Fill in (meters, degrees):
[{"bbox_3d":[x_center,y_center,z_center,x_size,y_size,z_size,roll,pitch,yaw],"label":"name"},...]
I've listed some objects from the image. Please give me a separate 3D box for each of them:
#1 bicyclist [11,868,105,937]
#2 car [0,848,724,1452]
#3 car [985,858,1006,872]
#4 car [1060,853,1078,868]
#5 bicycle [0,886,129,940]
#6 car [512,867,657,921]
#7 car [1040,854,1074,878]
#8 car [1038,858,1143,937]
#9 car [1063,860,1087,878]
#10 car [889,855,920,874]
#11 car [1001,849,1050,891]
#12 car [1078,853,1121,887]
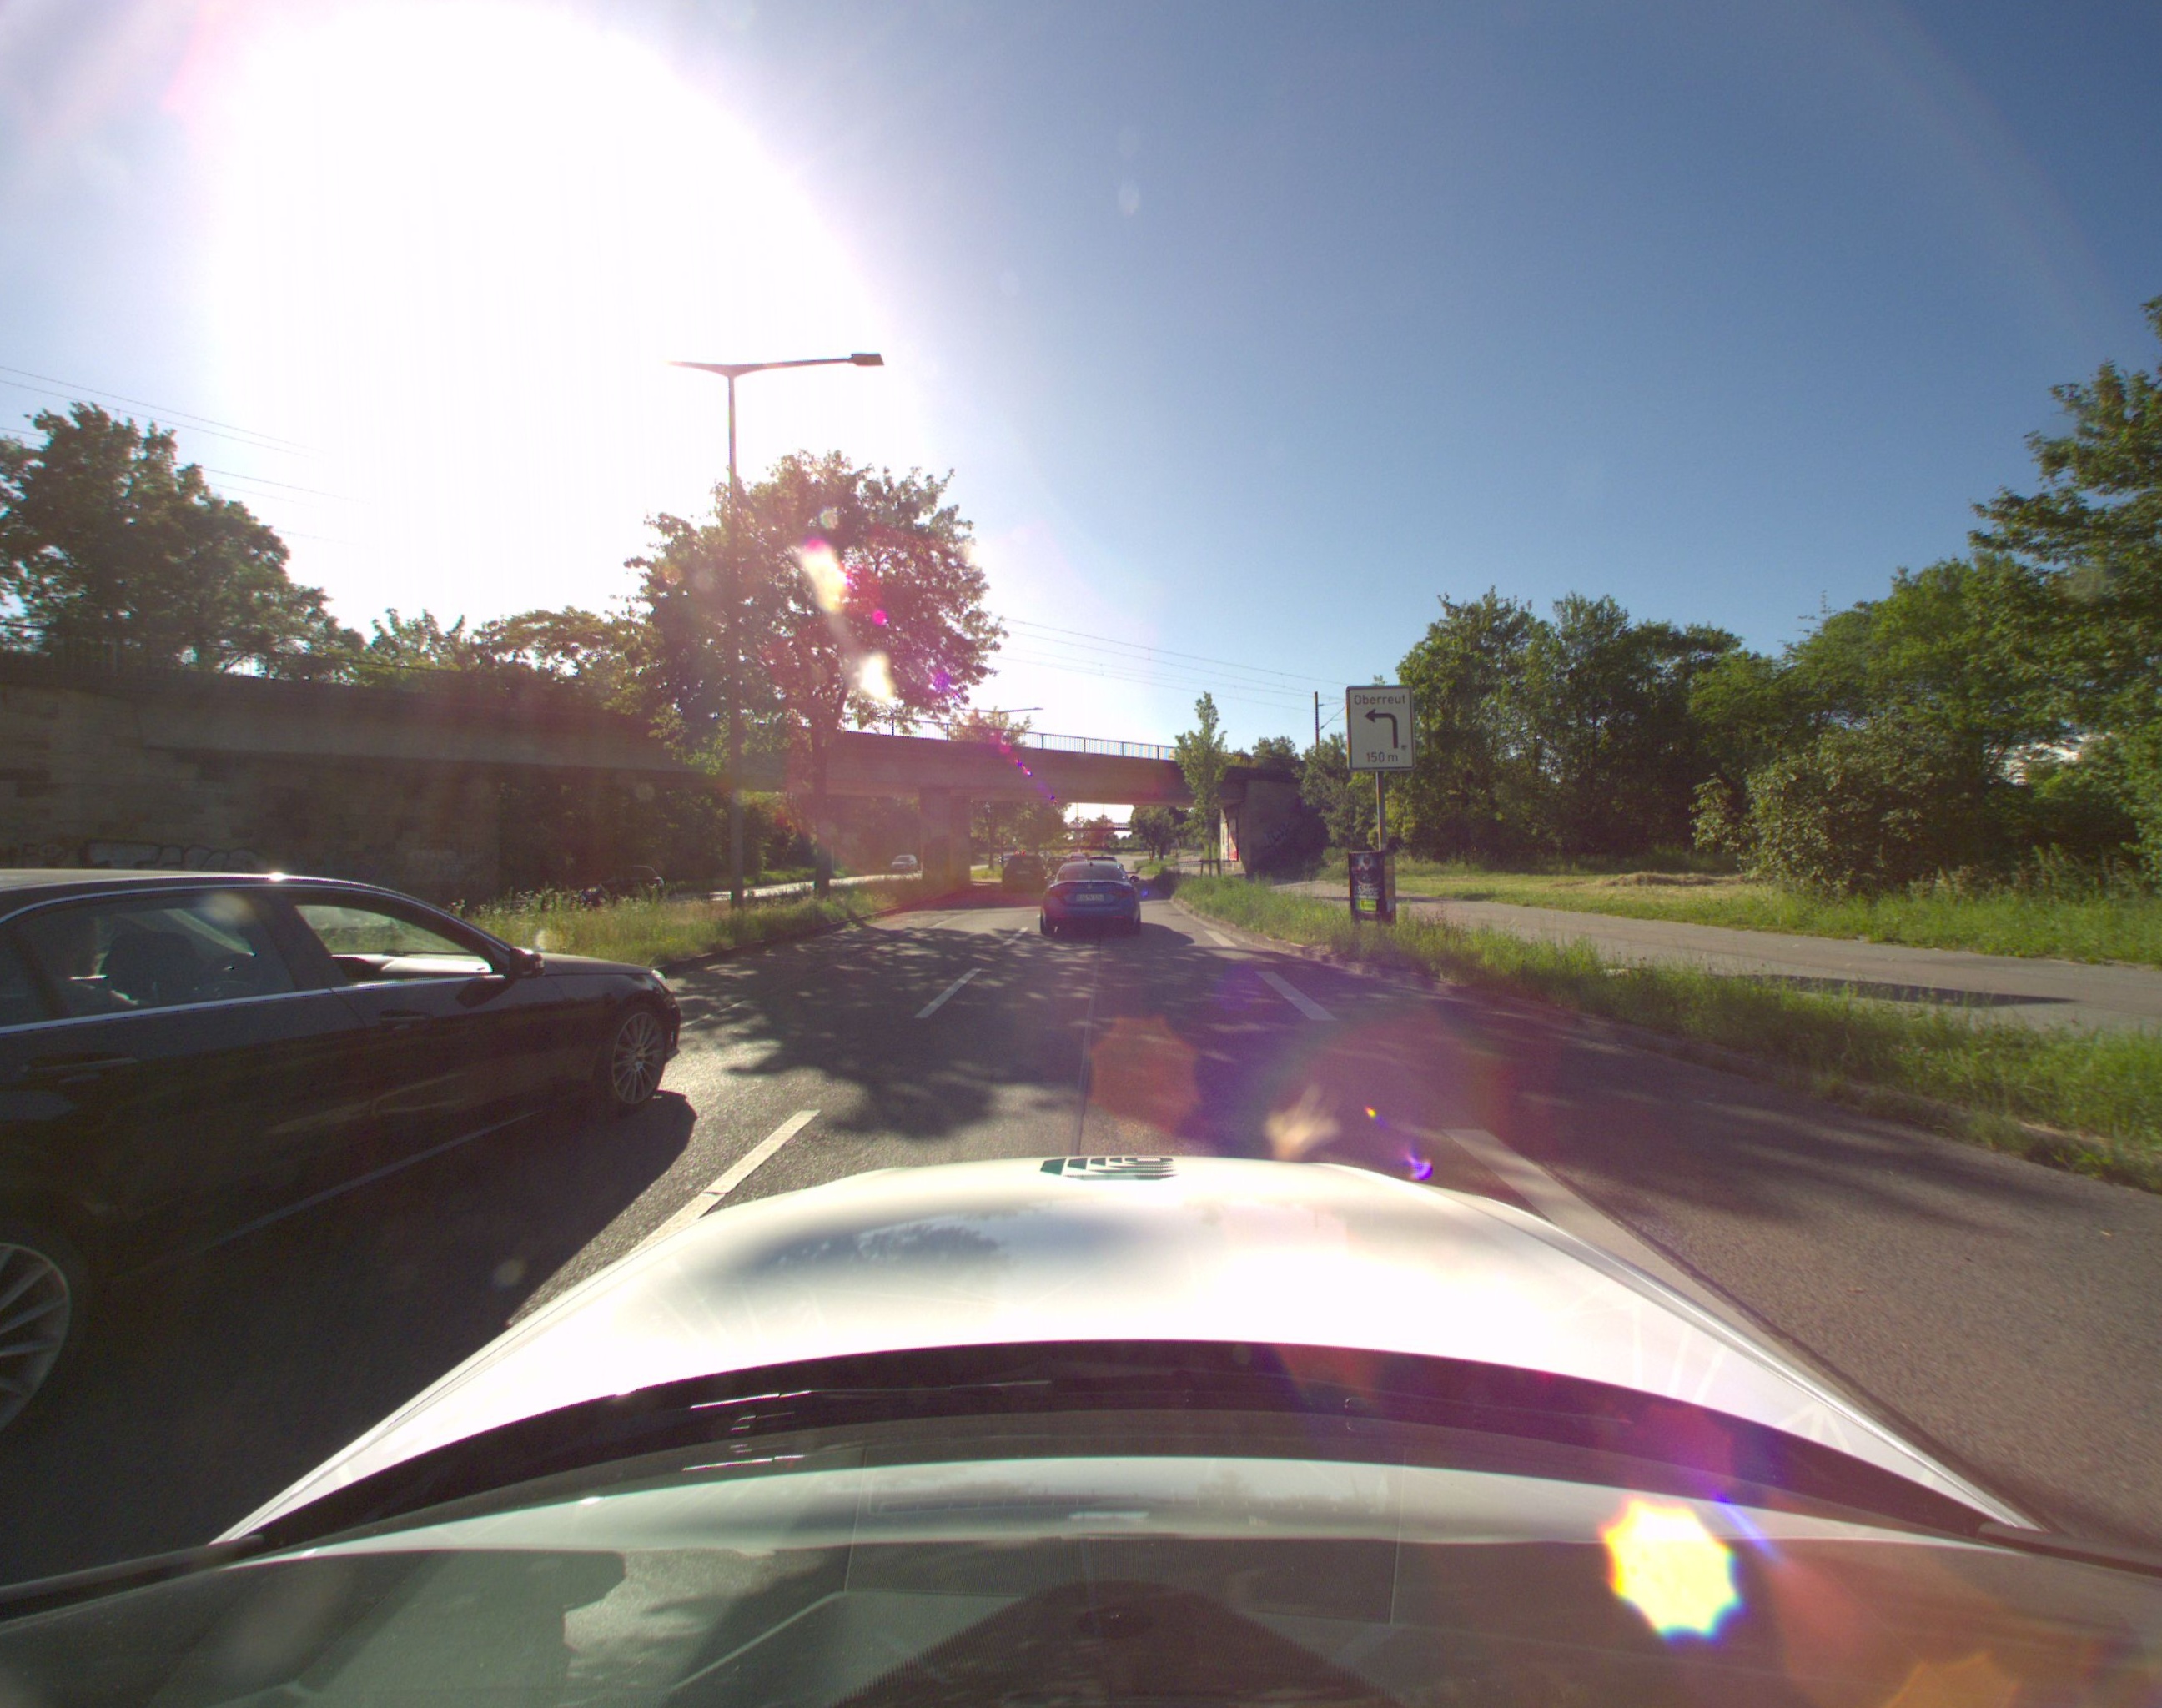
[{"bbox_3d":[-21.949,1.021,17.490,0.677,1.402,1.027,1,-1,2],"label":"bicyclist"},{"bbox_3d":[-3.571,0.733,3.217,1.951,1.483,4.922,0,0,3],"label":"car"},{"bbox_3d":[-10.022,1.296,95.536,1.835,1.543,4.002,-4,-1,2],"label":"car"},{"bbox_3d":[-1.260,0.682,87.029,1.772,1.454,4.184,-1,0,2],"label":"car"},{"bbox_3d":[-21.941,1.244,17.587,0.681,1.030,1.715,1,0,2],"label":"bicycle"},{"bbox_3d":[-15.082,1.154,25.022,1.809,1.442,4.091,-1,0,2],"label":"car"},{"bbox_3d":[-1.517,0.767,52.941,1.876,1.454,4.528,1,0,2],"label":"car"},{"bbox_3d":[0.254,0.791,16.685,1.876,1.406,4.226,1,0,2],"label":"car"},{"bbox_3d":[-0.502,1.293,70.451,1.876,1.454,4.528,1,0,2],"label":"car"},{"bbox_3d":[-16.040,0.959,74.322,1.722,1.617,4.182,-2,0,2],"label":"car"},{"bbox_3d":[-2.214,0.630,33.396,1.702,1.598,4.222,1,0,0],"label":"car"},{"bbox_3d":[0.897,0.726,38.205,1.876,1.454,4.528,1,0,2],"label":"car"}]
